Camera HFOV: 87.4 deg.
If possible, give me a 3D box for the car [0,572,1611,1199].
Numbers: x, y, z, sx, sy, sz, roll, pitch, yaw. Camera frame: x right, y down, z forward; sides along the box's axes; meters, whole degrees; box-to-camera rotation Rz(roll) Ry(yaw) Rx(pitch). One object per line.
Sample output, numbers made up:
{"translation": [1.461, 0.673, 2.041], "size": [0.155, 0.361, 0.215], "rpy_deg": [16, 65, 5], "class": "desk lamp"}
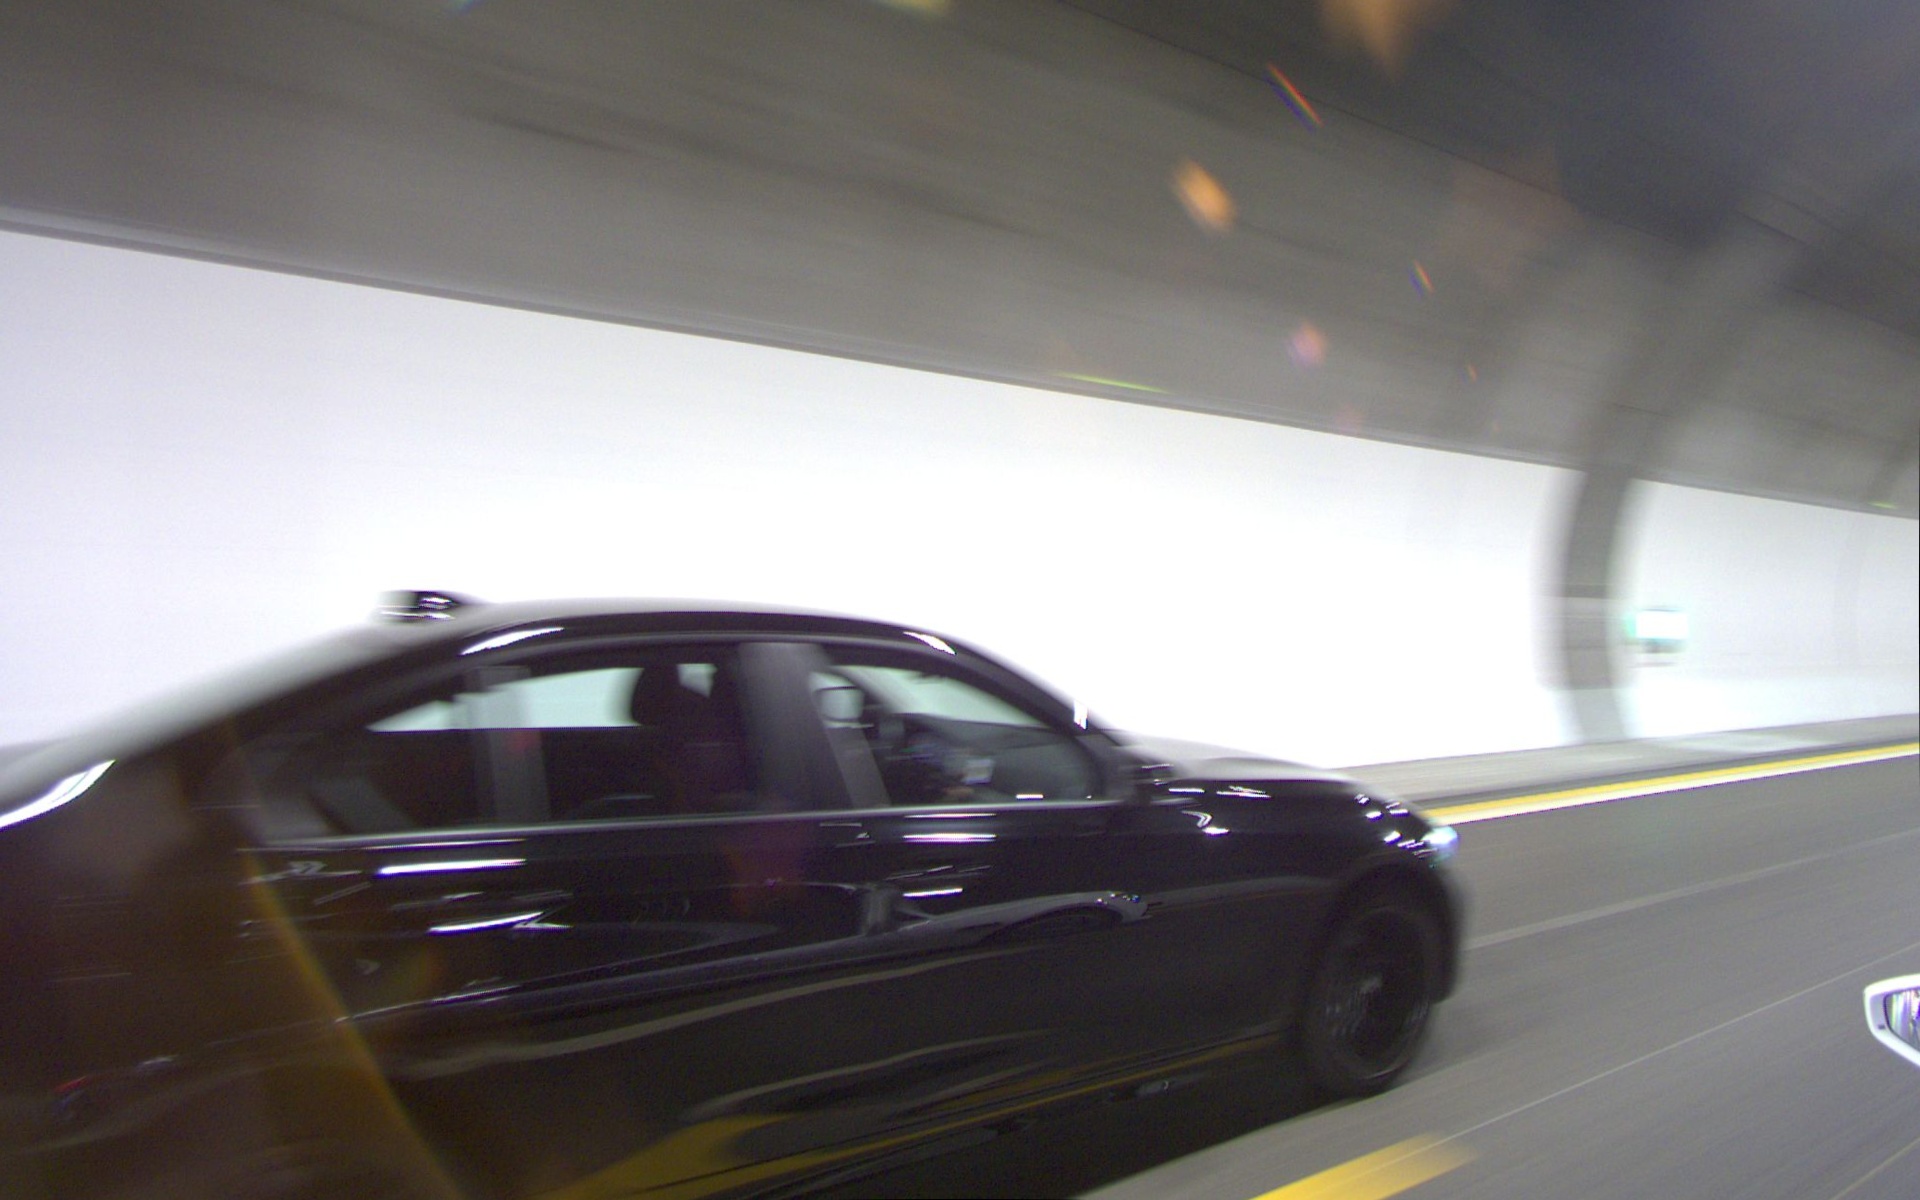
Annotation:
{"translation": [-0.275, 0.711, 3.025], "size": [4.825, 1.457, 1.769], "rpy_deg": [1, 0, -30], "class": "car"}
